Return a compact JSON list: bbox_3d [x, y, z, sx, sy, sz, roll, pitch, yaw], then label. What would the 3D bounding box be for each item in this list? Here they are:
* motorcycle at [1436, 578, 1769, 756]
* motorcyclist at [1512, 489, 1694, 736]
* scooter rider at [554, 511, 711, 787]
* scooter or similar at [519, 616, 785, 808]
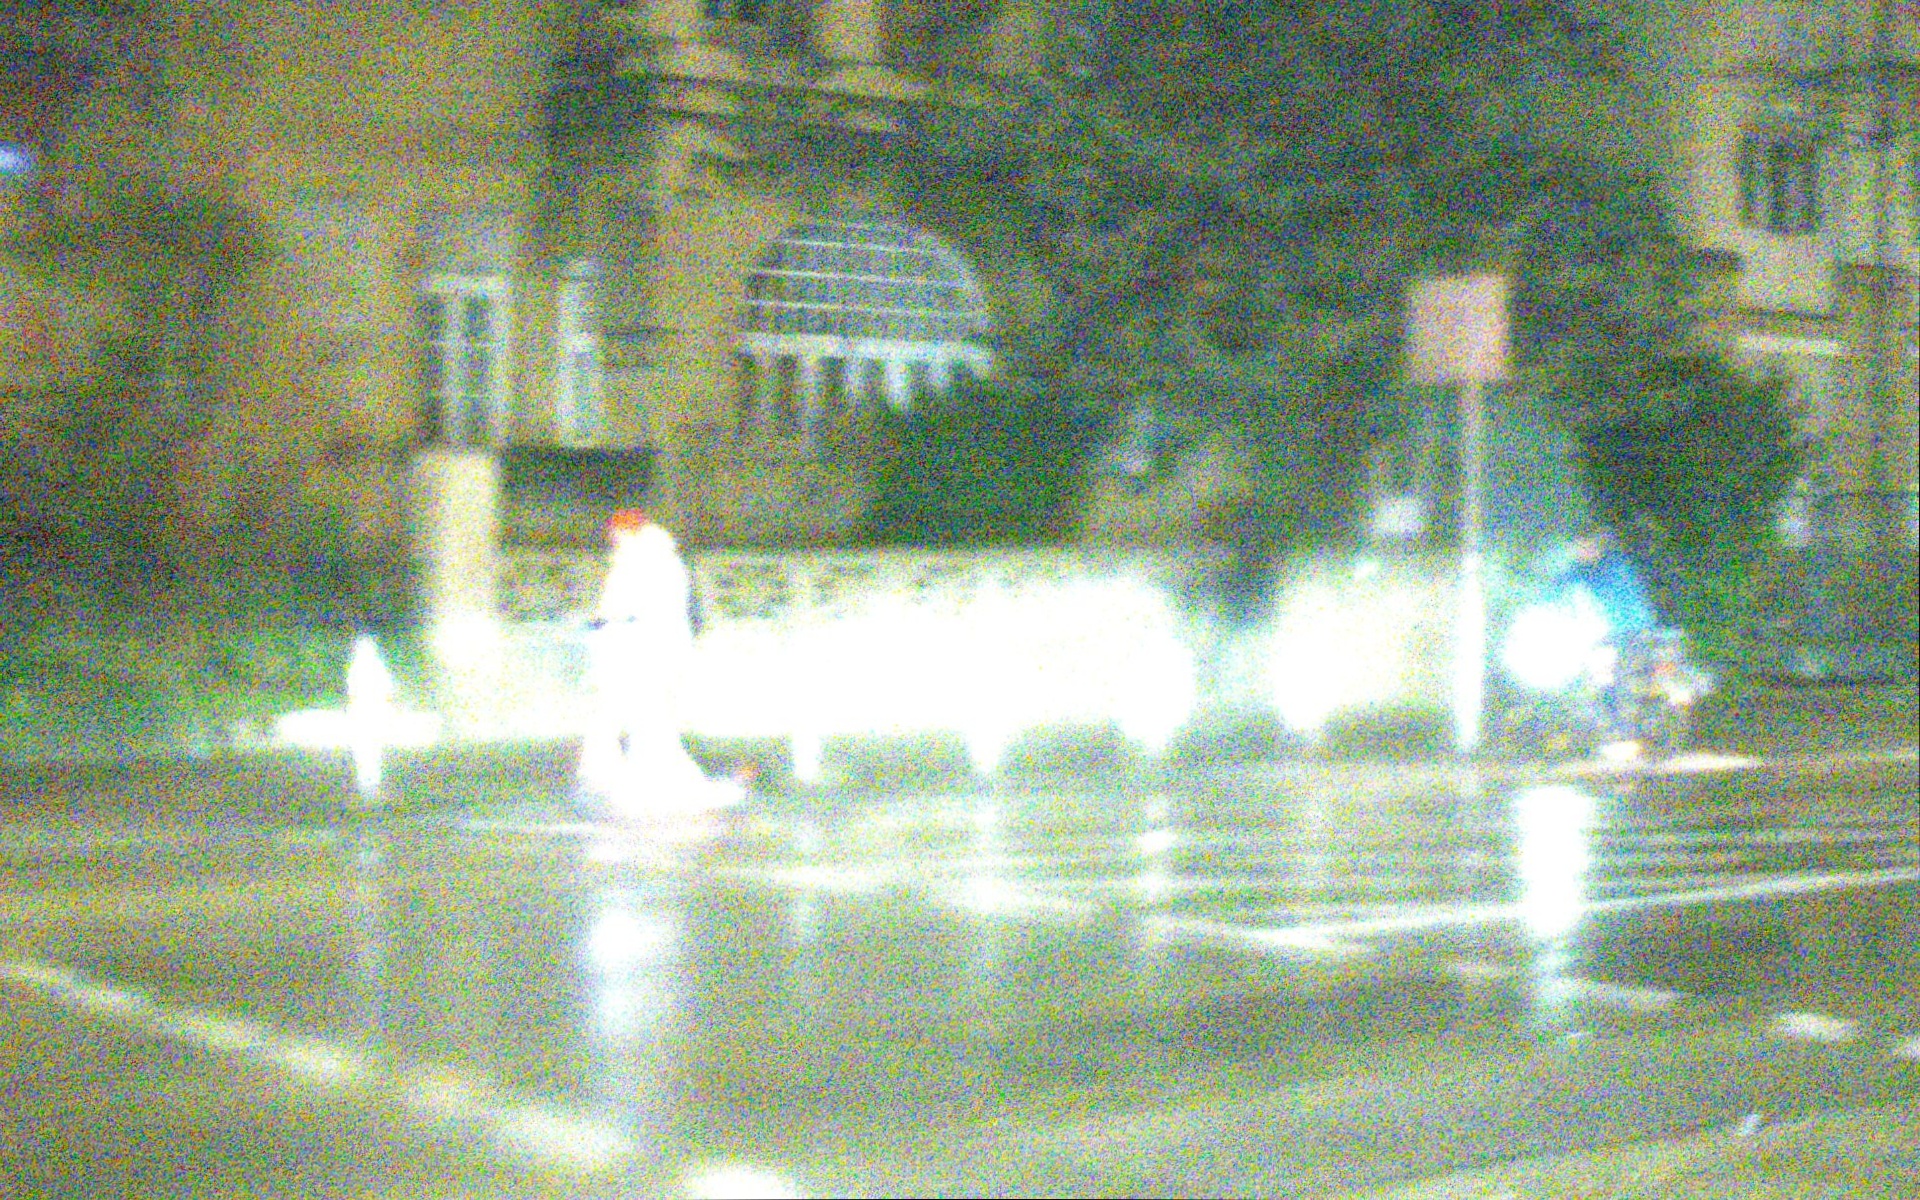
[{"bbox_3d":[4.580,0.470,24.490,2.317,1.226,0.710,0,-1,-24],"label":"motorcycle"},{"bbox_3d":[4.579,0.095,24.501,1.025,1.725,0.710,0,-1,-24],"label":"motorcyclist"},{"bbox_3d":[-1.922,0.281,20.143,0.650,1.567,0.642,1,2,-30],"label":"scooter rider"},{"bbox_3d":[-1.790,0.646,19.997,1.364,1.048,0.642,1,2,-30],"label":"scooter or similar"}]
